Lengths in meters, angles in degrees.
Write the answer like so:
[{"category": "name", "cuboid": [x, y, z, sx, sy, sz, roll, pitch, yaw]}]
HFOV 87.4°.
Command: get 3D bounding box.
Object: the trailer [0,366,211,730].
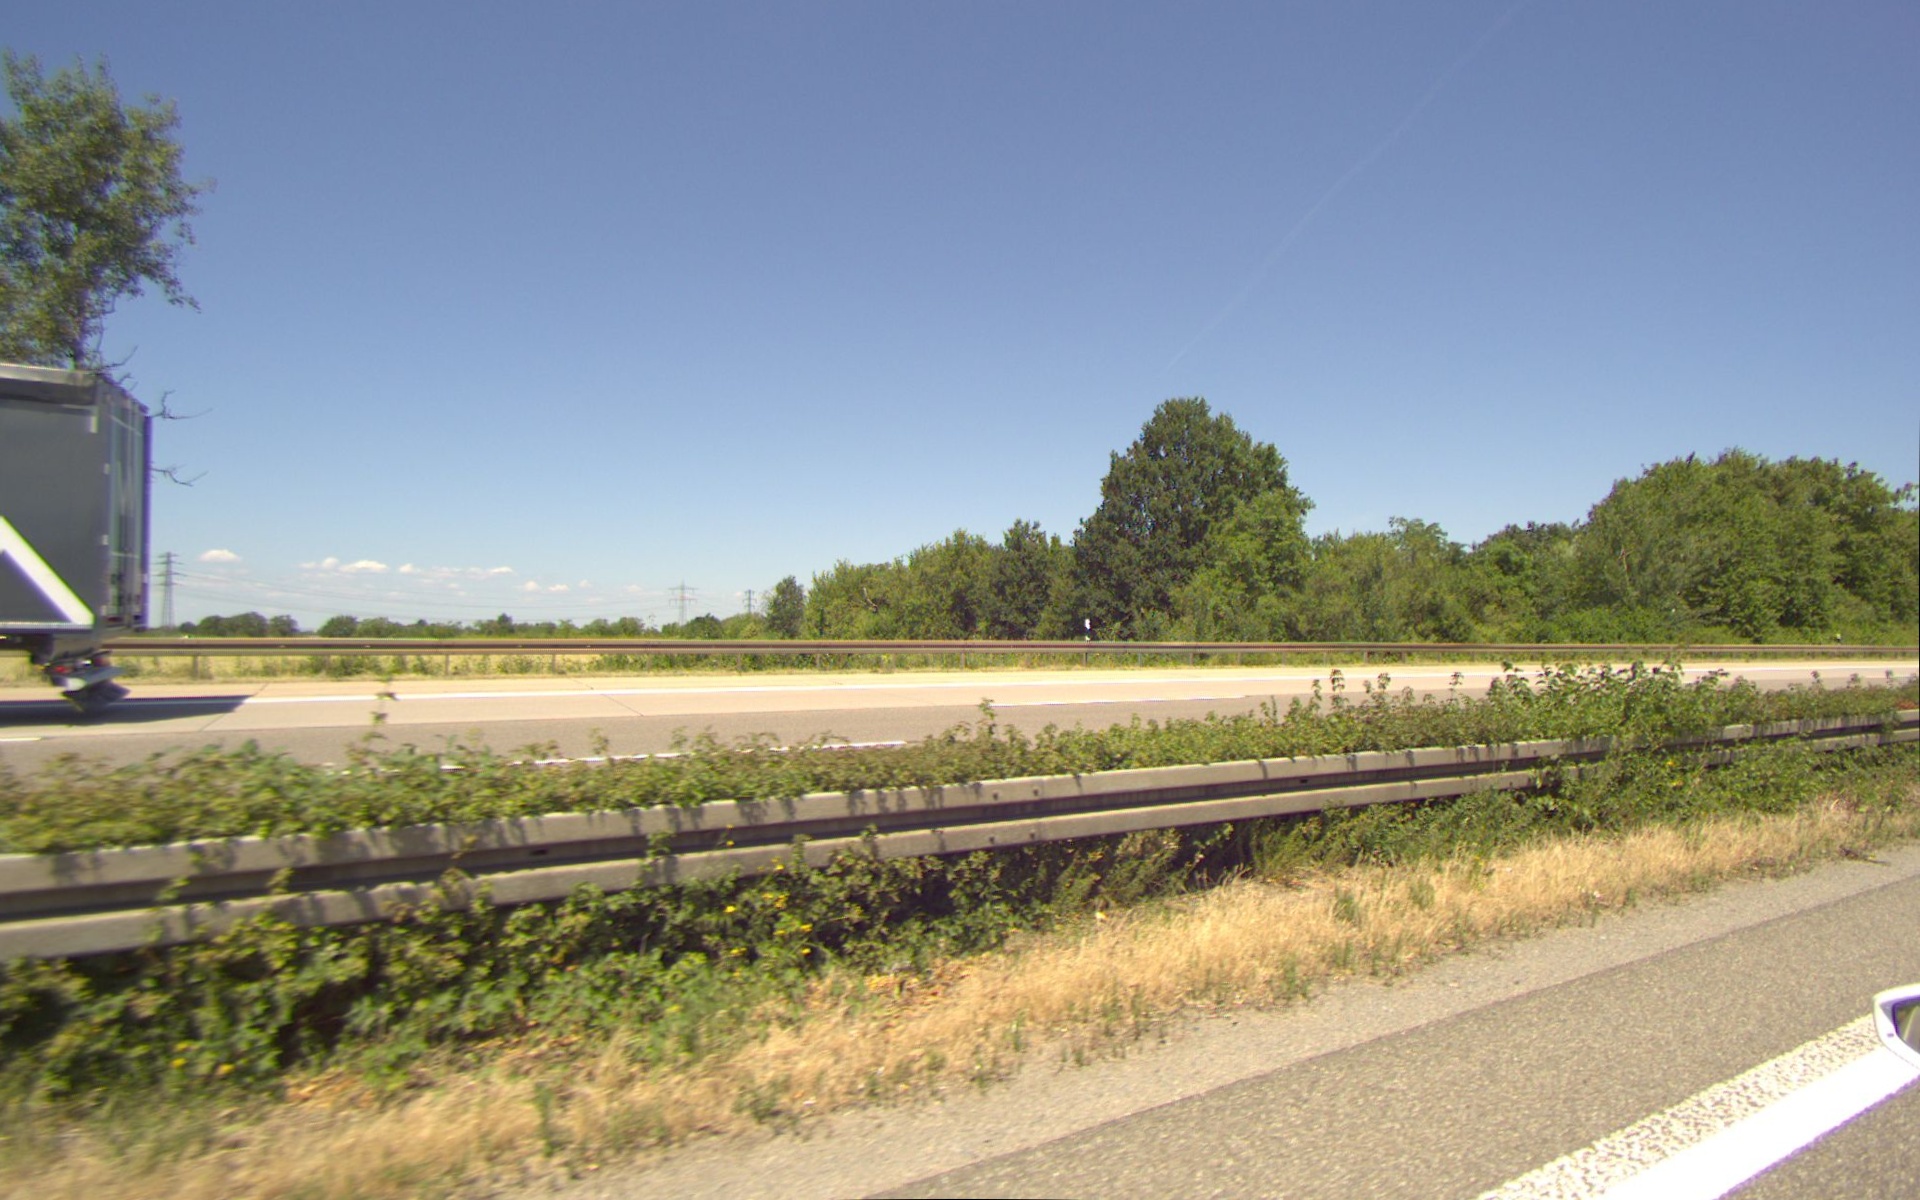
[{"category": "trailer", "cuboid": [-15.902, -0.692, 9.430, 13.899, 4.000, 2.865, 2, -1, -32]}]
